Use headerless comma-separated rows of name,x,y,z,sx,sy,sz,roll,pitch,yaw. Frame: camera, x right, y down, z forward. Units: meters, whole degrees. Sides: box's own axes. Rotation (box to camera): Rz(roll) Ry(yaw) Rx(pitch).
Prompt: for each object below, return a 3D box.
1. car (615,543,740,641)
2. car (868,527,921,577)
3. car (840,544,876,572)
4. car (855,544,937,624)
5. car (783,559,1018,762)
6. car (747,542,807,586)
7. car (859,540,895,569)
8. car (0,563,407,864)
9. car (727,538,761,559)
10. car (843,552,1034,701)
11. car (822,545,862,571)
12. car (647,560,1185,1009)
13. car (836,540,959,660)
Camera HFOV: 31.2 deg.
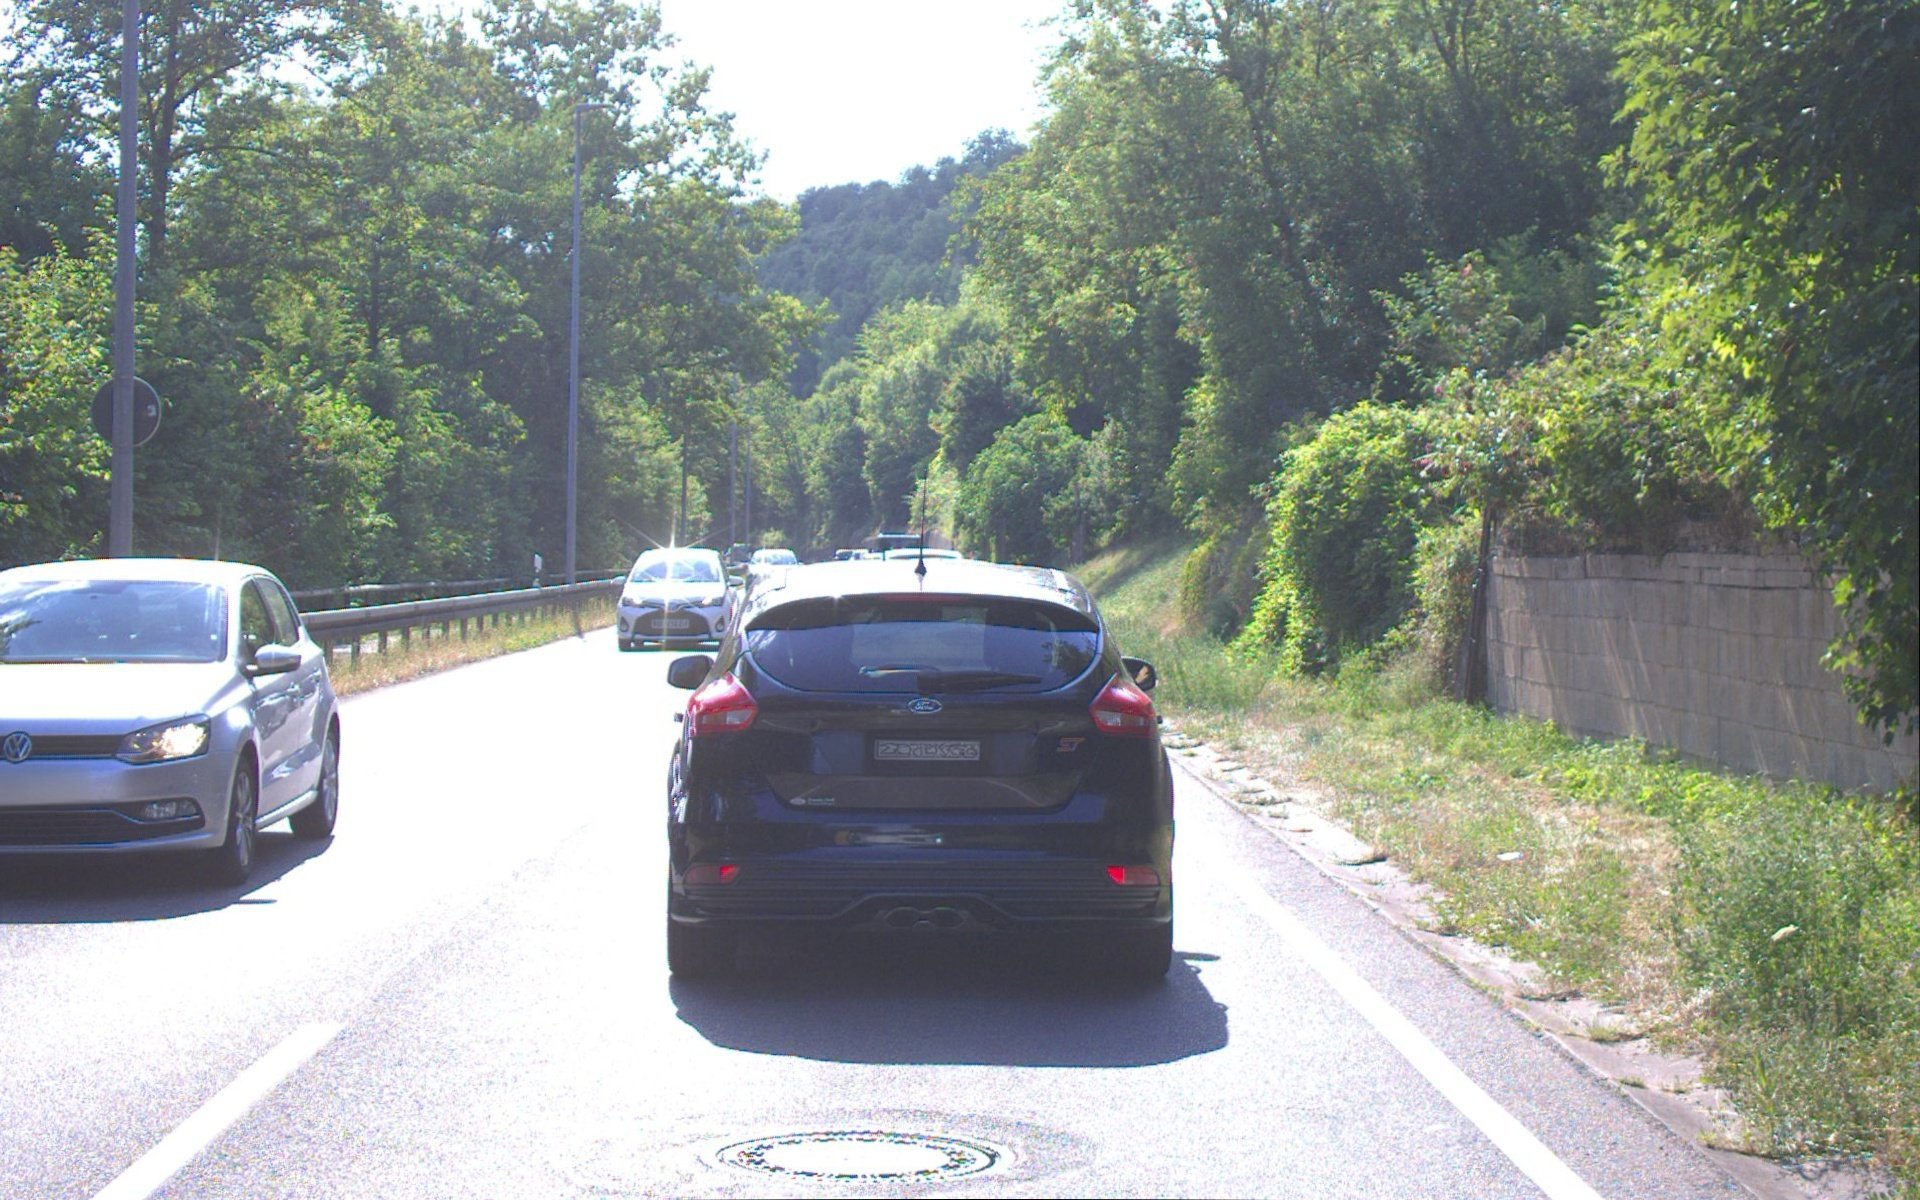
car,-4.388,-0.151,53.854,1.681,1.458,4.198,0,1,-1
car,-2.401,-1.758,125.254,1.863,1.774,4.001,0,1,-2
car,-5.733,-2.363,193.299,1.993,1.514,4.000,0,1,-1
car,-1.295,-0.349,70.386,1.631,1.590,4.000,0,1,-1
car,-0.393,0.406,26.336,1.661,1.413,4.000,0,1,1
car,-5.938,-1.185,112.033,1.775,1.383,4.000,0,1,-1
car,-4.321,-2.381,179.592,1.819,1.514,4.000,0,1,-1
car,-3.998,0.507,18.019,1.623,1.372,4.048,0,1,-1
car,-16.007,-3.813,254.300,1.993,1.514,4.001,0,1,-12
car,-0.221,0.220,34.445,1.804,1.387,4.000,0,1,-1
car,-7.008,-2.518,203.642,1.993,1.514,4.001,0,1,-8
car,-0.162,0.579,13.185,1.739,1.451,4.000,0,1,-1
car,-0.844,-0.035,47.577,1.631,1.590,4.000,0,1,-1
